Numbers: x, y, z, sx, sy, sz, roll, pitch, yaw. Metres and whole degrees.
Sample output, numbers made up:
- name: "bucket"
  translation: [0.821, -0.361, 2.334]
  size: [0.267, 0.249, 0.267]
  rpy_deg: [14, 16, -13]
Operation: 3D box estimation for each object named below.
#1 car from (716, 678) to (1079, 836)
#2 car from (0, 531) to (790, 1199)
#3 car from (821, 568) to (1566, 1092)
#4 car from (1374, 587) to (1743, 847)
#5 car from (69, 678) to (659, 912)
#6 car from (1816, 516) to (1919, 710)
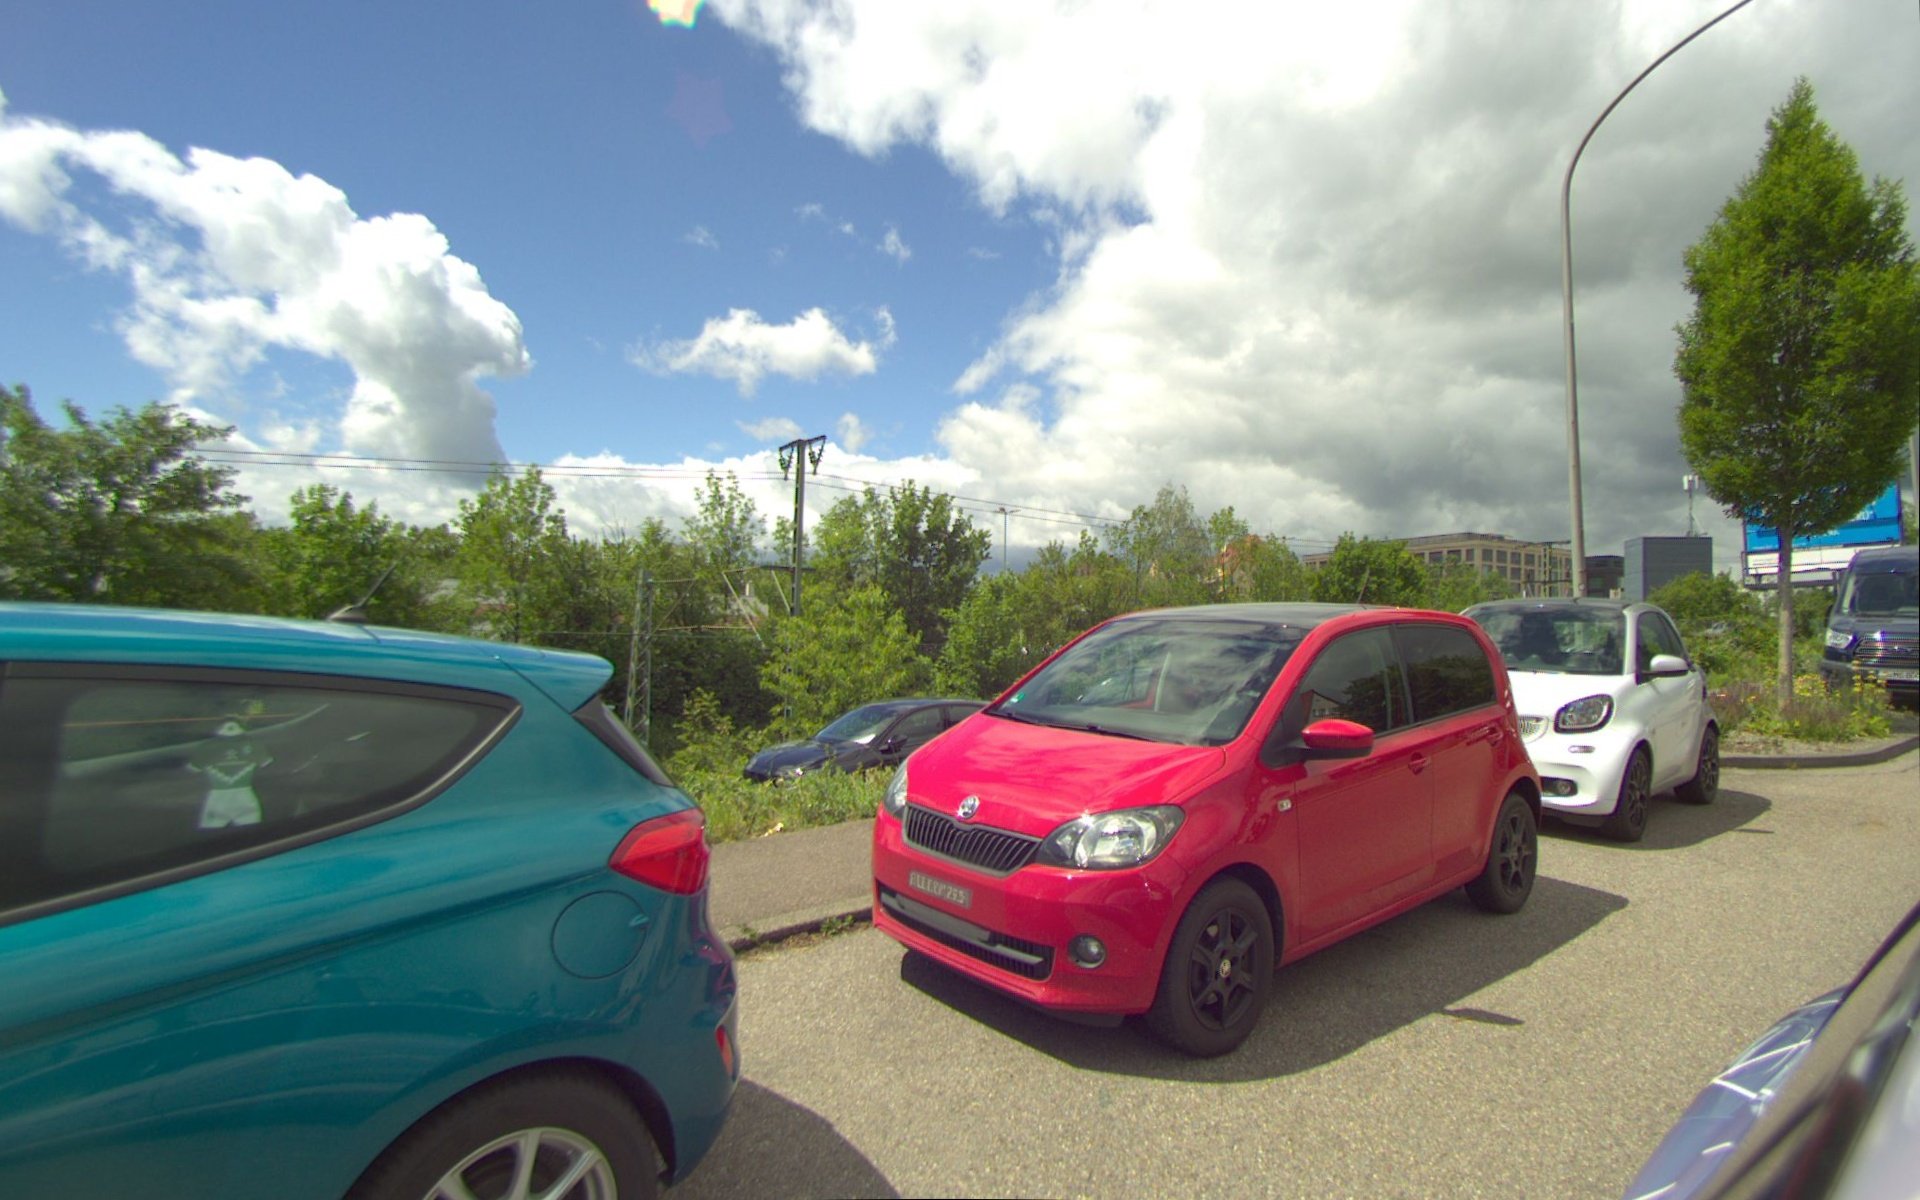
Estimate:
- name: "car"
  translation: [-0.690, 1.860, 13.087]
  size: [4.472, 1.368, 1.820]
  rpy_deg: [0, 0, -38]
- name: "car"
  translation: [-2.329, 0.645, 1.438]
  size: [3.912, 1.469, 1.594]
  rpy_deg: [0, 0, -43]
- name: "car"
  translation: [1.248, 0.662, 4.635]
  size: [3.438, 1.500, 1.596]
  rpy_deg: [0, 0, -40]
- name: "car"
  translation: [4.528, 0.697, 7.554]
  size: [2.808, 1.542, 1.595]
  rpy_deg: [0, -1, -42]
- name: "car"
  translation: [-5.351, 1.599, 9.556]
  size: [4.472, 1.368, 1.820]
  rpy_deg: [0, 0, -38]
- name: "car"
  translation: [15.226, 0.165, 15.509]
  size: [5.629, 2.627, 2.060]
  rpy_deg: [0, 0, -38]
